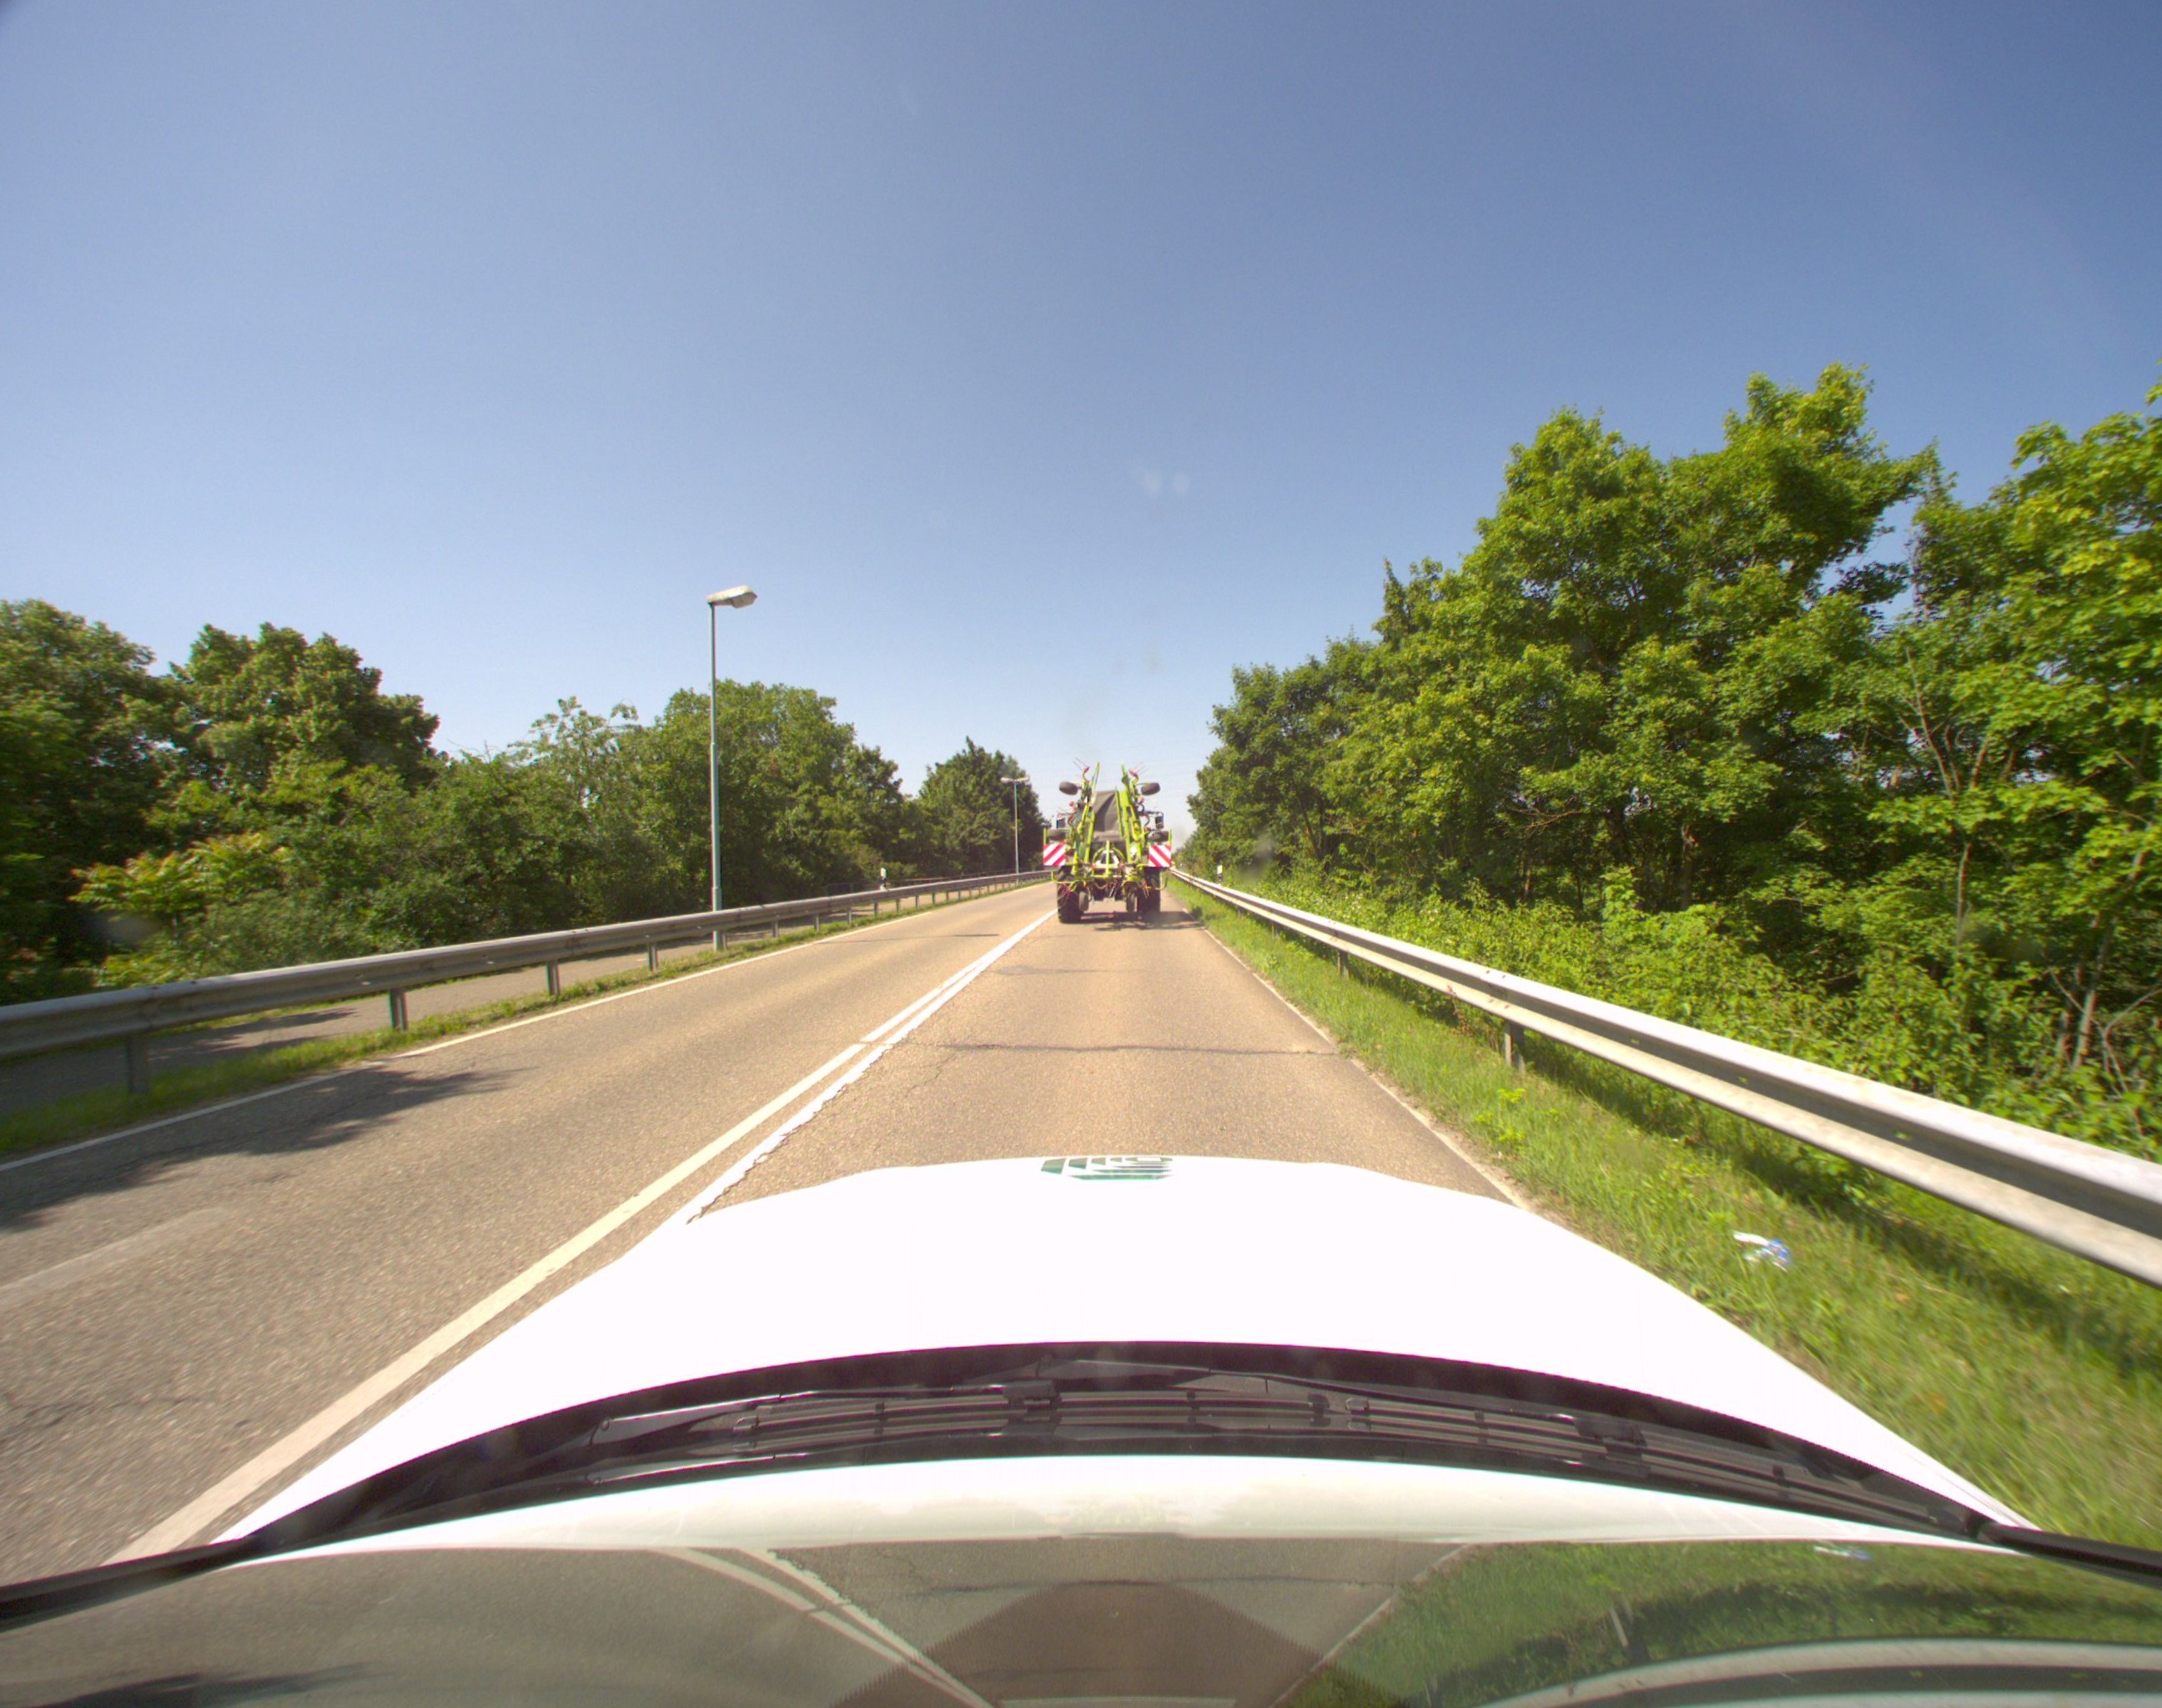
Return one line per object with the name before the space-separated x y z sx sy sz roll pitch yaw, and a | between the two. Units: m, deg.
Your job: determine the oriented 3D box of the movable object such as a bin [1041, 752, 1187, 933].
movable object such as a bin | 0.646 -0.226 18.526 2.746 3.444 5.669 -1 0 0
